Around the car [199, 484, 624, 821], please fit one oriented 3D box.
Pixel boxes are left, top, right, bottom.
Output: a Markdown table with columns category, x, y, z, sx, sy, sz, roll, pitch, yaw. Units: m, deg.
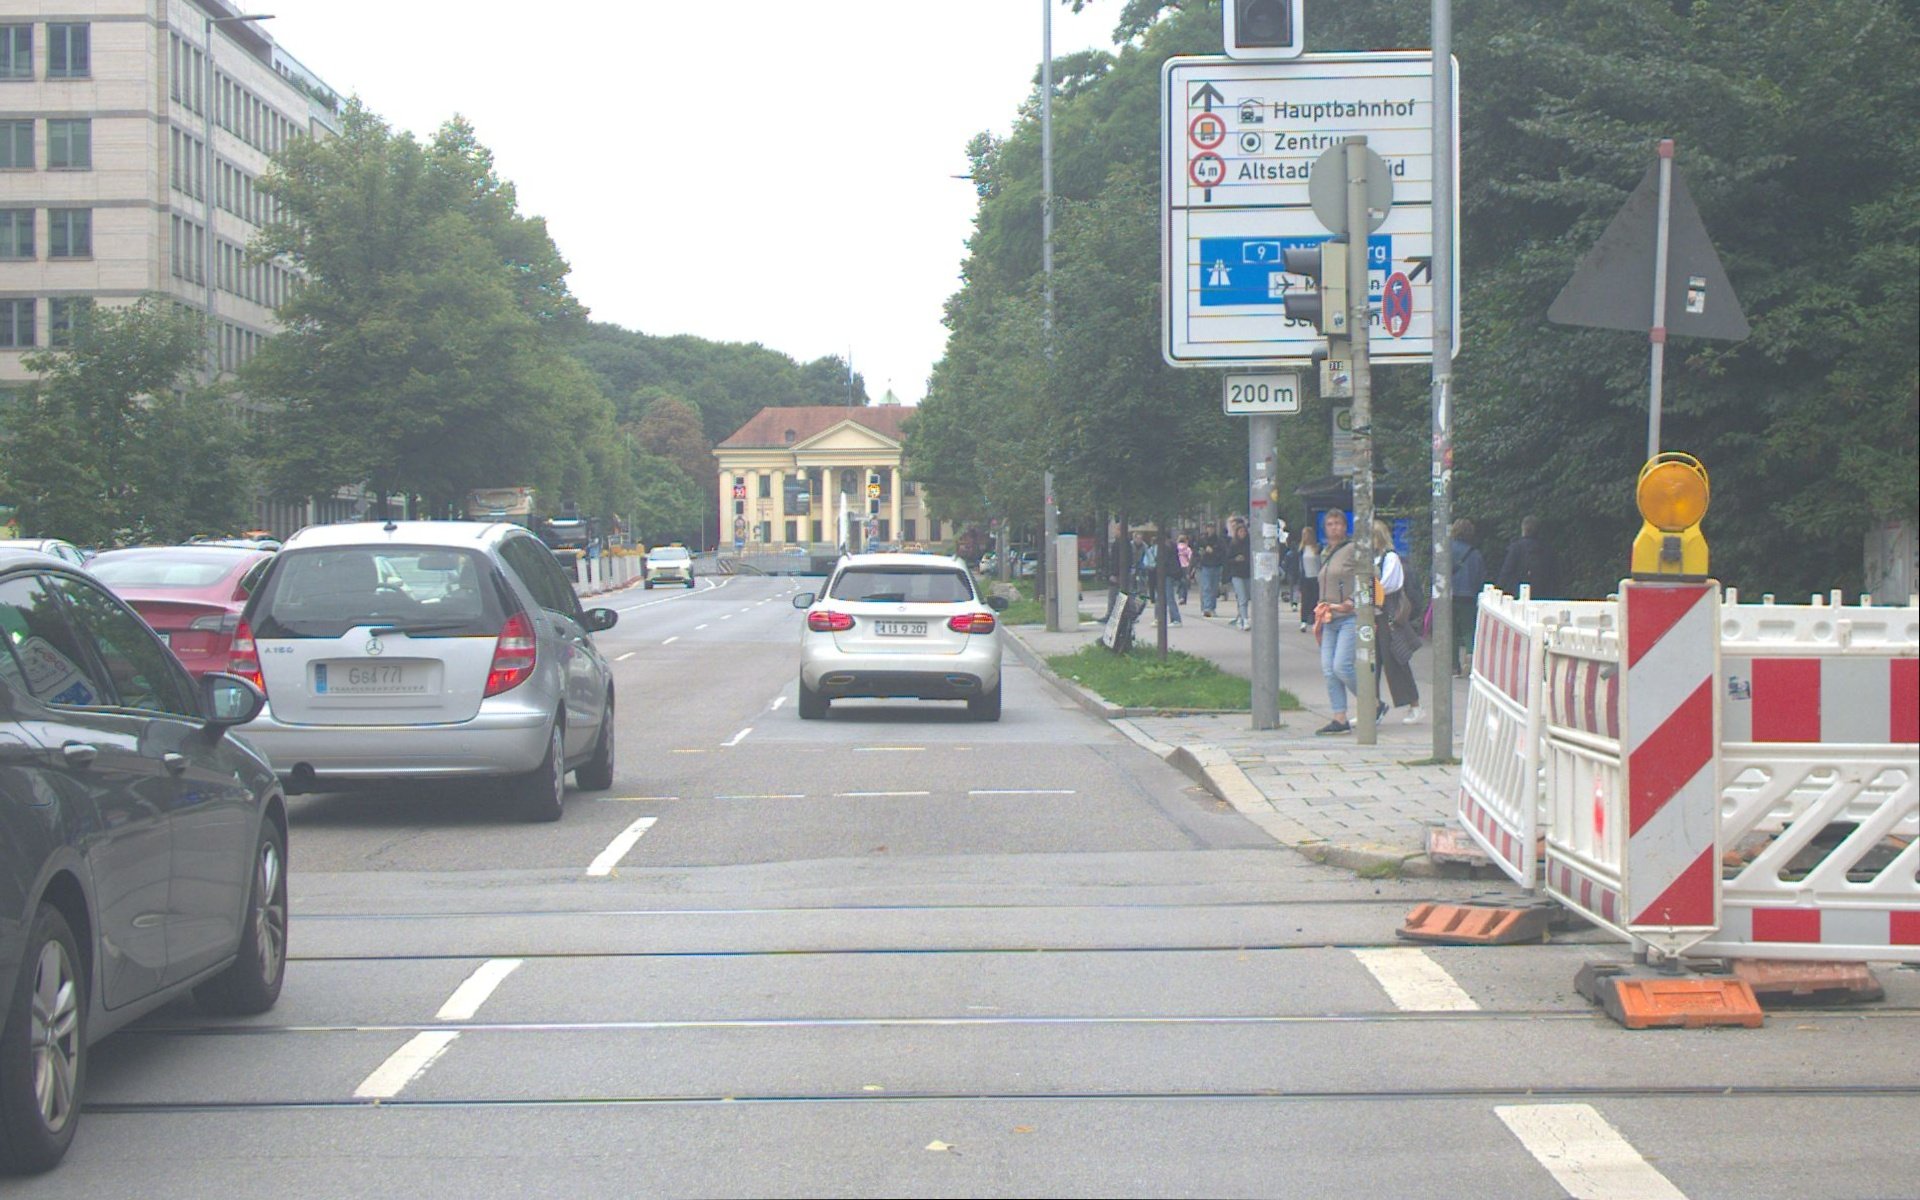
| category | x | y | z | sx | sy | sz | roll | pitch | yaw |
| --- | --- | --- | --- | --- | --- | --- | --- | --- | --- |
| car | -2.924 | 0.224 | 19.107 | 1.779 | 1.648 | 4.000 | 1 | 1 | -1 |

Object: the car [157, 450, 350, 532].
| category | x | y | z | sx | sy | sz | roll | pitch | yaw |
| --- | --- | --- | --- | --- | --- | --- | --- | --- | --- |
| car | -22.180 | -3.419 | 108.100 | 5.679 | 2.528 | 2.157 | -1 | 1 | -4 |

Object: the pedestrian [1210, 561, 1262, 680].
| category | x | y | z | sx | sy | sz | roll | pitch | yaw |
| --- | --- | --- | --- | --- | --- | --- | --- | --- | --- |
| pedestrian | 4.482 | 0.328 | 55.863 | 0.708 | 1.908 | 0.956 | 1 | 1 | -1 |

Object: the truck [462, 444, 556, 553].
| category | x | y | z | sx | sy | sz | roll | pitch | yaw |
| --- | --- | --- | --- | --- | --- | --- | --- | --- | --- |
| truck | -16.188 | -3.629 | 123.821 | 2.915 | 3.761 | 7.667 | 1 | 1 | -5 |

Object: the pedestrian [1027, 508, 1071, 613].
| category | x | y | z | sx | sy | sz | roll | pitch | yaw |
| --- | --- | --- | --- | --- | --- | --- | --- | --- | --- |
| pedestrian | 1.536 | -0.693 | 59.729 | 0.708 | 1.802 | 0.639 | 1 | 1 | -1 |

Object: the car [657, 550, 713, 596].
| category | x | y | z | sx | sy | sz | roll | pitch | yaw |
| --- | --- | --- | --- | --- | --- | --- | --- | --- | --- |
| car | -10.532 | -1.050 | 131.806 | 1.820 | 1.722 | 3.882 | 1 | 1 | 0 |

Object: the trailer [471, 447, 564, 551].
| category | x | y | z | sx | sy | sz | roll | pitch | yaw |
| --- | --- | --- | --- | --- | --- | --- | --- | --- | --- |
| trailer | -16.792 | -3.789 | 131.177 | 2.949 | 3.727 | 11.773 | 1 | 1 | -5 |

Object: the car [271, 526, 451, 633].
| category | x | y | z | sx | sy | sz | roll | pitch | yaw |
| --- | --- | --- | --- | --- | --- | --- | --- | --- | --- |
| car | -8.686 | -0.338 | 50.199 | 1.767 | 1.418 | 4.747 | -2 | 1 | 0 |

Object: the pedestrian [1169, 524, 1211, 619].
| category | x | y | z | sx | sy | sz | roll | pitch | yaw |
| --- | --- | --- | --- | --- | --- | --- | --- | --- | --- |
| pedestrian | 4.423 | -0.548 | 66.130 | 0.708 | 1.802 | 0.639 | 1 | 1 | -1 |

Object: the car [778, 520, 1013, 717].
| category | x | y | z | sx | sy | sz | roll | pitch | yaw |
| --- | --- | --- | --- | --- | --- | --- | --- | --- | --- |
| car | -0.645 | 0.117 | 31.105 | 1.779 | 1.639 | 4.001 | 1 | 1 | -6 |

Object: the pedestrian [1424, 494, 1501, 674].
| category | x | y | z | sx | sy | sz | roll | pitch | yaw |
| --- | --- | --- | --- | --- | --- | --- | --- | --- | --- |
| pedestrian | 5.200 | -0.169 | 35.607 | 0.671 | 1.832 | 0.641 | 1 | 1 | 0 |

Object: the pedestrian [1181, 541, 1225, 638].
| category | x | y | z | sx | sy | sz | roll | pitch | yaw |
| --- | --- | --- | --- | --- | --- | --- | --- | --- | --- |
| pedestrian | 4.596 | -0.206 | 65.029 | 0.708 | 1.802 | 0.950 | 1 | 1 | -1 |

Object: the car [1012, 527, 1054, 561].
| category | x | y | z | sx | sy | sz | roll | pitch | yaw |
| --- | --- | --- | --- | --- | --- | --- | --- | --- | --- |
| car | 3.316 | -2.571 | 157.449 | 1.827 | 1.544 | 4.752 | -1 | 1 | 0 |

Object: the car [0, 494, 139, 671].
| category | x | y | z | sx | sy | sz | roll | pitch | yaw |
| --- | --- | --- | --- | --- | --- | --- | --- | --- | --- |
| car | -9.008 | -0.193 | 32.366 | 1.634 | 1.566 | 3.946 | -1 | 1 | -1 |

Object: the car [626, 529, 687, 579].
| category | x | y | z | sx | sy | sz | roll | pitch | yaw |
| --- | --- | --- | --- | --- | --- | --- | --- | --- | --- |
| car | -11.291 | -1.733 | 128.108 | 1.857 | 1.742 | 4.630 | -2 | 1 | 0 |

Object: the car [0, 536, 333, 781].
| category | x | y | z | sx | sy | sz | roll | pitch | yaw |
| --- | --- | --- | --- | --- | --- | --- | --- | --- | --- |
| car | -5.836 | 0.366 | 25.608 | 1.779 | 1.648 | 4.001 | 1 | 1 | -3 |

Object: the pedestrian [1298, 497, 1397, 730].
| category | x | y | z | sx | sy | sz | roll | pitch | yaw |
| --- | --- | --- | --- | --- | --- | --- | --- | --- | --- |
| pedestrian | 2.965 | 0.093 | 26.342 | 0.608 | 1.755 | 0.636 | -1 | 1 | -8 |

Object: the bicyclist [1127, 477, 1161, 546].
| category | x | y | z | sx | sy | sz | roll | pitch | yaw |
| --- | --- | --- | --- | --- | --- | --- | --- | --- | --- |
| bicyclist | 4.173 | -2.005 | 77.971 | 0.708 | 1.556 | 0.639 | 1 | 1 | -1 |

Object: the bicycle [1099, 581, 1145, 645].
| category | x | y | z | sx | sy | sz | roll | pitch | yaw |
| --- | --- | --- | --- | --- | --- | --- | --- | --- | --- |
| bicycle | 2.117 | 0.166 | 45.124 | 0.493 | 0.791 | 1.890 | 1 | 1 | 0 |

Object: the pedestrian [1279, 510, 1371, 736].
| category | x | y | z | sx | sy | sz | roll | pitch | yaw |
| --- | --- | --- | --- | --- | --- | --- | --- | --- | --- |
| pedestrian | 2.873 | 0.178 | 27.101 | 0.624 | 1.755 | 0.636 | 0 | 0 | -2 |

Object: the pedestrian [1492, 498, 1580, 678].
| category | x | y | z | sx | sy | sz | roll | pitch | yaw |
| --- | --- | --- | --- | --- | --- | --- | --- | --- | --- |
| pedestrian | 5.968 | -0.134 | 35.633 | 0.751 | 1.832 | 0.756 | 1 | 1 | 0 |

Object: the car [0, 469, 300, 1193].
| category | x | y | z | sx | sy | sz | roll | pitch | yaw |
| --- | --- | --- | --- | --- | --- | --- | --- | --- | --- |
| car | -2.930 | 0.449 | 8.955 | 1.710 | 1.546 | 4.000 | 1 | 1 | -1 |

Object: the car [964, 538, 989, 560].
| category | x | y | z | sx | sy | sz | roll | pitch | yaw |
| --- | --- | --- | --- | --- | --- | --- | --- | --- | --- |
| car | 1.147 | -3.585 | 242.003 | 1.724 | 1.319 | 4.028 | 0 | 4 | 0 |

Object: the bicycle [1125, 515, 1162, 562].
| category | x | y | z | sx | sy | sz | roll | pitch | yaw |
| --- | --- | --- | --- | --- | --- | --- | --- | --- | --- |
| bicycle | 4.155 | -1.401 | 77.983 | 0.675 | 1.027 | 2.013 | 1 | 1 | -1 |

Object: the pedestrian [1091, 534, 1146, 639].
| category | x | y | z | sx | sy | sz | roll | pitch | yaw |
| --- | --- | --- | --- | --- | --- | --- | --- | --- | --- |
| pedestrian | 2.861 | -0.246 | 62.115 | 0.805 | 1.874 | 0.543 | 2 | 1 | 36 |
